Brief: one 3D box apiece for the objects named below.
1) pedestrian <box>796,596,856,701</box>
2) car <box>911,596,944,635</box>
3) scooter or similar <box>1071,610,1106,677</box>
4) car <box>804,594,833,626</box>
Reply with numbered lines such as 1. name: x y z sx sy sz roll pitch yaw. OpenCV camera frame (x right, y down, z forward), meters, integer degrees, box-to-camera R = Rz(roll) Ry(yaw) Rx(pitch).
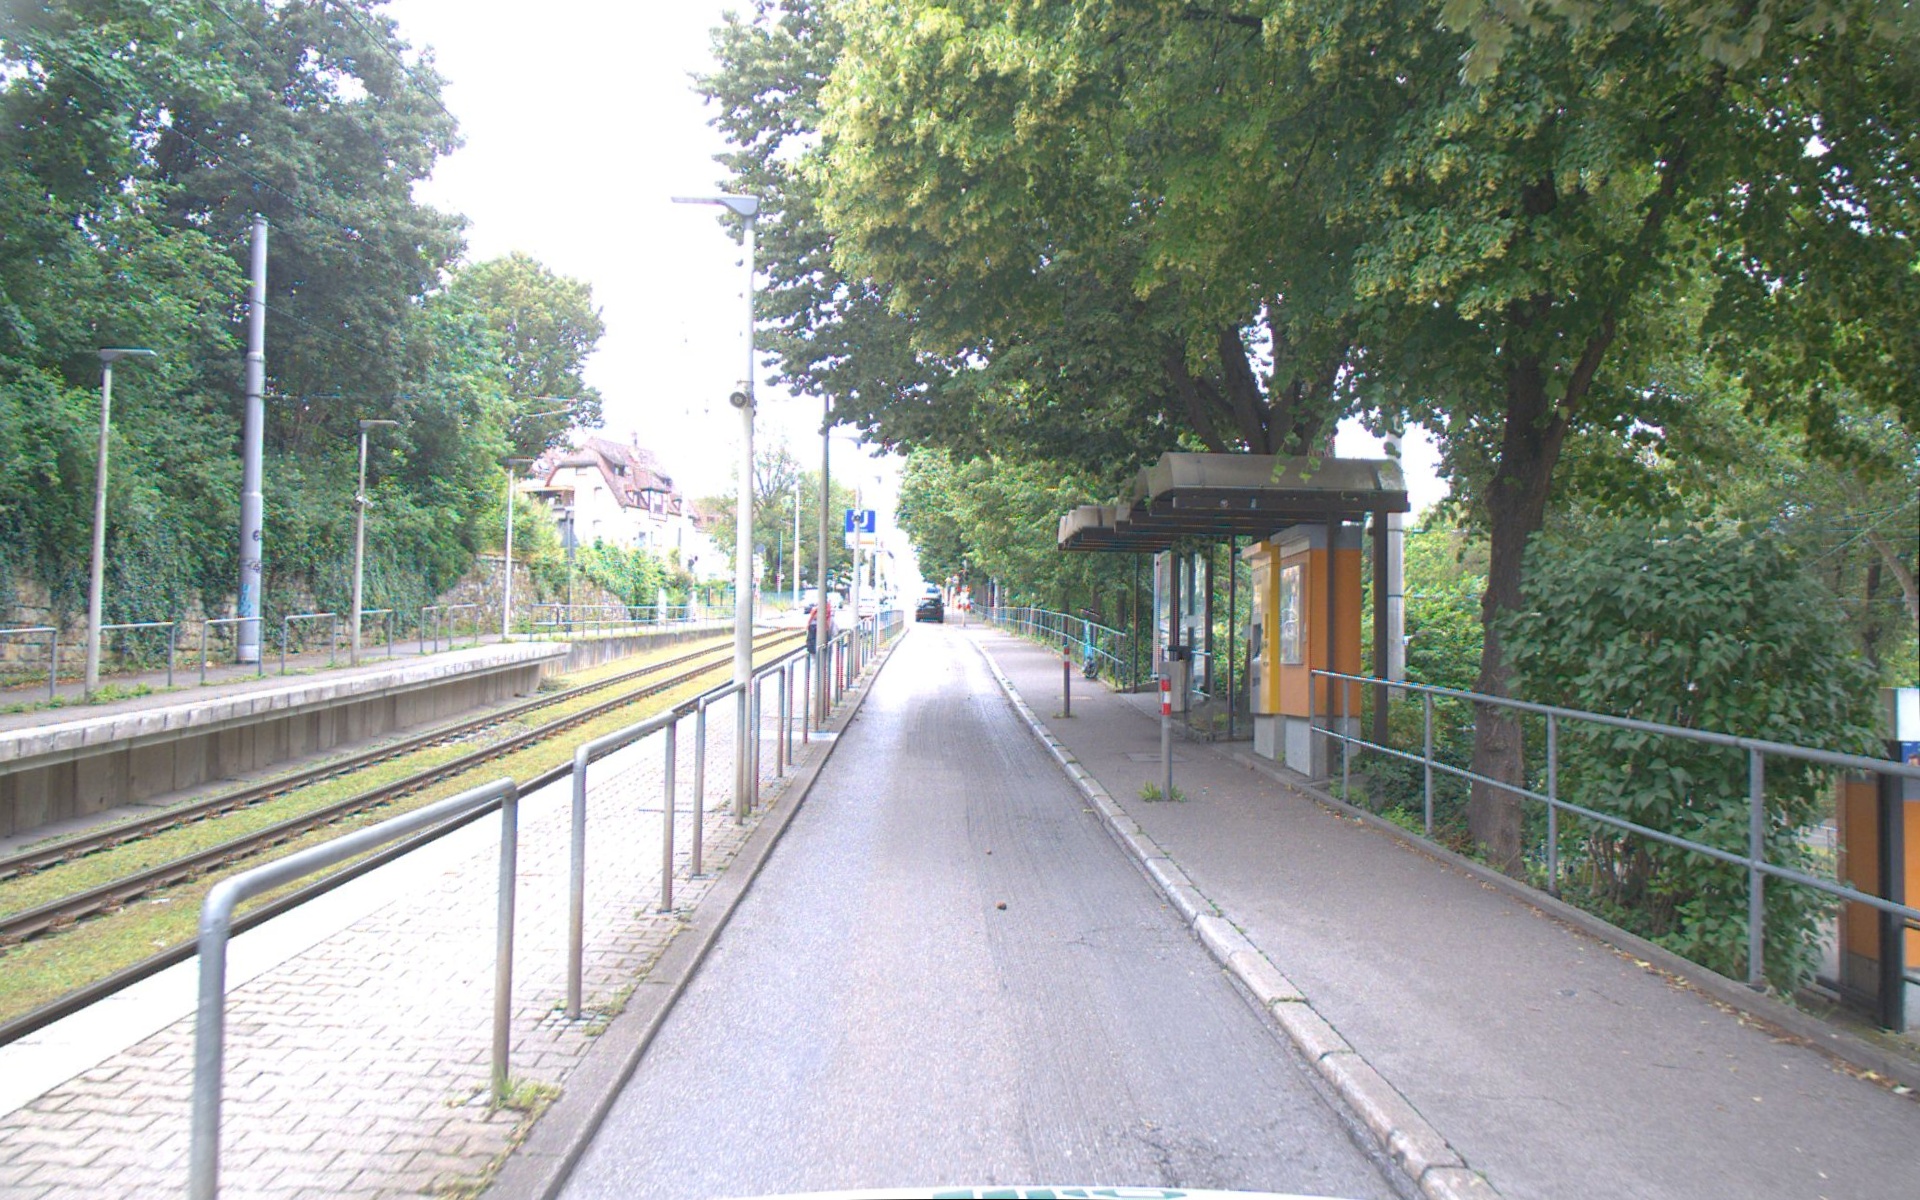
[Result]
1. pedestrian: -1.931 0.688 23.942 0.727 1.434 0.746 4 1 -2
2. car: -2.078 1.037 106.630 1.953 2.183 3.998 4 -3 -1
3. scooter or similar: 2.335 0.808 30.153 0.336 1.177 1.144 4 -3 -7
4. car: -11.272 0.826 132.144 1.953 2.183 3.998 4 -3 -1
